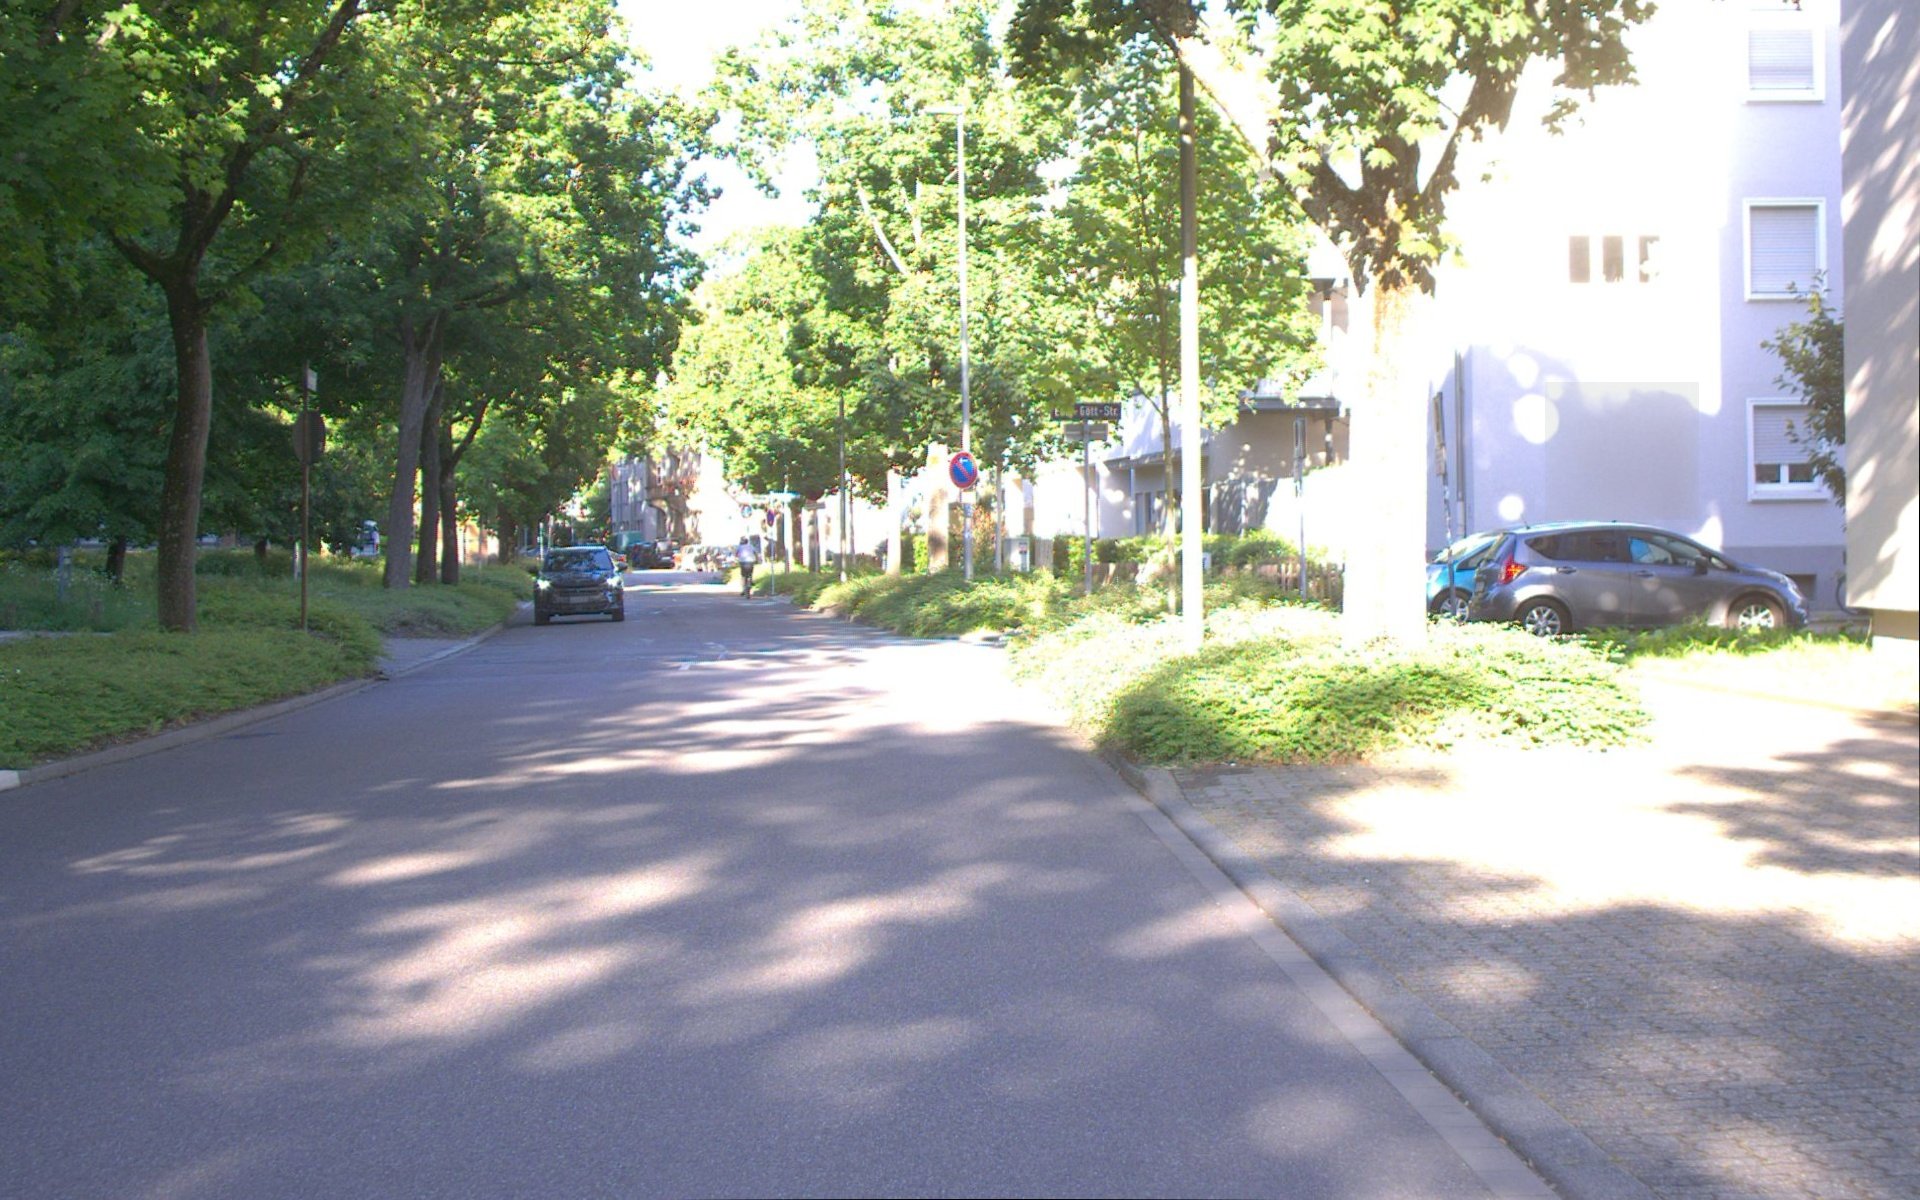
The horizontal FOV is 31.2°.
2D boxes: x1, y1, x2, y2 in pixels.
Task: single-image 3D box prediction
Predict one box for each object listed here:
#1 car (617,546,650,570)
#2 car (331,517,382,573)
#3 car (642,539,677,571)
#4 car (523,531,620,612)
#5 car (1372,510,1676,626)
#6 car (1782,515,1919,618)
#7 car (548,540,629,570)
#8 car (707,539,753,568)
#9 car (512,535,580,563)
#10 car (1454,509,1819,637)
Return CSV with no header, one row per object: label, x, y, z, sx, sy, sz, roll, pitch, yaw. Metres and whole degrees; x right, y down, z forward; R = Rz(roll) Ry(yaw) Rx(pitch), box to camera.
car,-21.405,-2.772,225.305,1.811,1.496,4.001,1,1,-9
car,-27.677,-2.524,157.578,1.993,2.499,4.001,0,1,-14
car,-18.447,-2.795,210.970,1.811,1.919,4.001,1,1,-9
car,-8.088,-0.618,71.805,1.844,1.573,4.336,-2,1,-5
car,8.110,-0.481,49.613,3.986,1.576,1.810,-1,2,-6
car,14.265,-0.494,50.711,3.824,1.492,1.648,0,1,-4
car,-19.446,-2.343,179.904,3.986,1.496,1.818,1,1,-13
car,-12.229,-2.477,182.636,1.811,1.496,4.001,-1,1,-13
car,-23.154,-2.846,192.134,3.586,1.505,1.500,1,1,-13
car,8.214,-0.309,41.930,4.040,1.509,1.727,0,-1,-5
